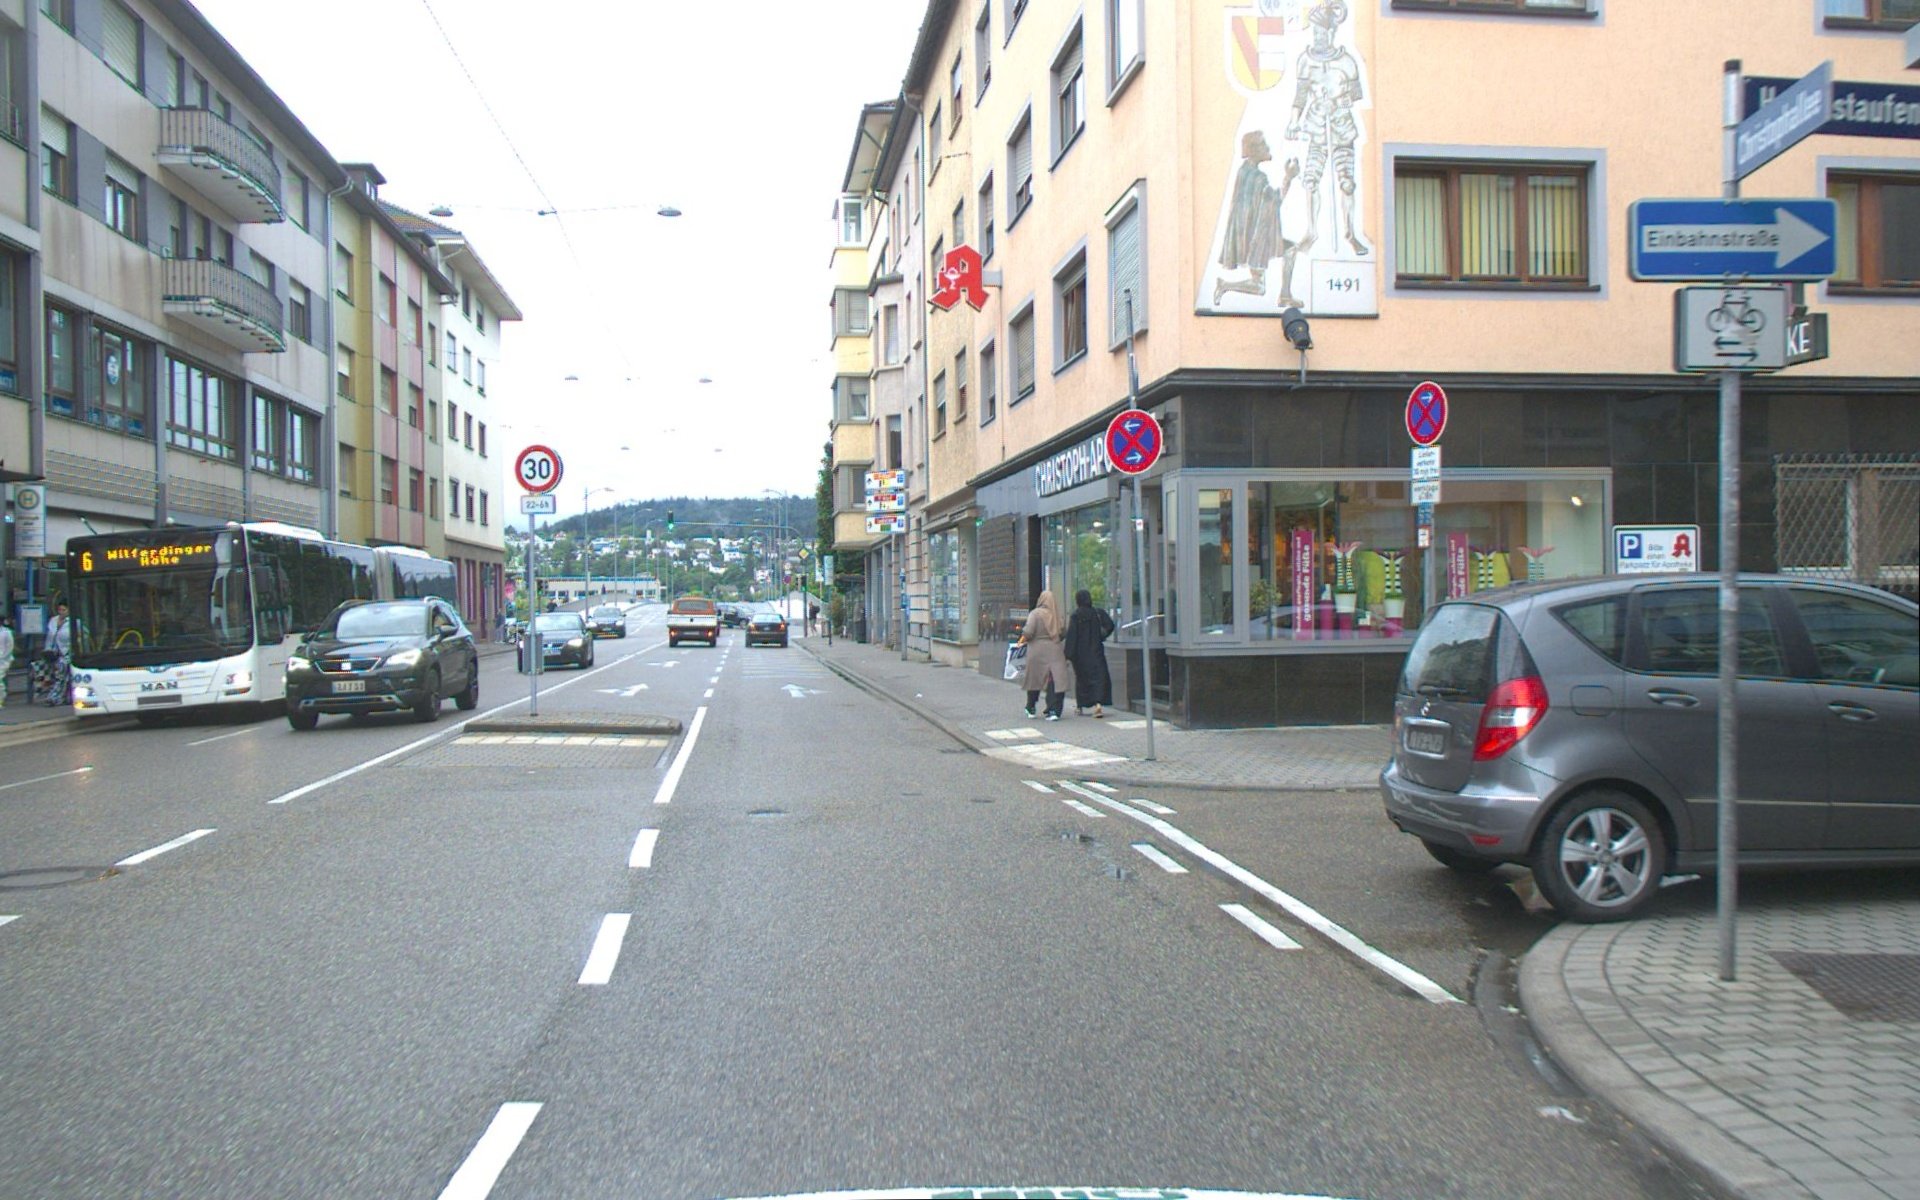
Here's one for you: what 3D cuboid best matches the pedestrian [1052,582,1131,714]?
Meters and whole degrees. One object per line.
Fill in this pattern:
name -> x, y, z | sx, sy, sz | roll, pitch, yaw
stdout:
pedestrian -> 1.623, 0.586, 20.525 | 0.754, 1.587, 0.874 | -1, 0, -9

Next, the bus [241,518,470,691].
bus -> -12.907, 0.110, 36.209 | 2.674, 3.244, 9.276 | -1, 0, -8

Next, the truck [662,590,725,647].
truck -> -10.851, 0.755, 67.744 | 2.355, 2.167, 5.305 | -1, 0, -8

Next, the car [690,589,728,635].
car -> -13.773, 0.653, 90.859 | 1.956, 2.392, 5.000 | -1, 0, -8

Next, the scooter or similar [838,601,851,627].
scooter or similar -> -5.416, 0.656, 77.684 | 0.501, 1.193, 1.546 | -1, 0, -7

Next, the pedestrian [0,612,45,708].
pedestrian -> -14.362, 0.896, 24.895 | 0.753, 1.420, 0.786 | -1, 0, -5

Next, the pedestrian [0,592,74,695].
pedestrian -> -14.930, 0.689, 26.592 | 0.927, 1.617, 0.833 | -1, 0, -6

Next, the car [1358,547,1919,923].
car -> 4.177, 0.568, 8.395 | 3.751, 1.601, 1.934 | -2, 0, -5

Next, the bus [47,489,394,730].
bus -> -11.676, 0.144, 27.188 | 2.707, 3.244, 8.896 | -1, 0, -8

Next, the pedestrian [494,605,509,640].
pedestrian -> -21.149, 1.048, 76.342 | 0.564, 1.580, 0.738 | -1, 0, -11

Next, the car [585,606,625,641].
car -> -19.486, 1.282, 90.955 | 1.895, 1.788, 4.563 | -1, 0, -9

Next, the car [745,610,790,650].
car -> -7.887, 1.200, 67.498 | 1.721, 1.505, 3.993 | -1, 0, -7

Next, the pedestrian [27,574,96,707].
pedestrian -> -14.199, 0.627, 26.155 | 0.665, 2.049, 0.776 | -1, 0, -5

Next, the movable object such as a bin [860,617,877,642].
movable object such as a bin -> -3.592, 1.150, 64.962 | 0.589, 0.942, 0.703 | -1, 0, -8

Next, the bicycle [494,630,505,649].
bicycle -> -20.721, 1.766, 74.384 | 0.259, 0.797, 1.419 | -1, 0, -7

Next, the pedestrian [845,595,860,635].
pedestrian -> -4.734, 0.669, 73.114 | 0.607, 1.729, 0.656 | -1, 0, -4

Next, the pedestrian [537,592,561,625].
pedestrian -> -25.648, 0.540, 103.252 | 0.961, 2.049, 1.175 | -2, 0, 12

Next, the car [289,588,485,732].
car -> -7.708, 0.723, 22.642 | 1.711, 1.691, 4.409 | -2, 1, -9

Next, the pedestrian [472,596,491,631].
pedestrian -> -22.053, 0.621, 76.216 | 0.759, 1.605, 0.587 | -1, 0, -8

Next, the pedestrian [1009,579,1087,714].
pedestrian -> 1.069, 0.560, 20.224 | 0.764, 1.587, 0.781 | -1, 0, -9

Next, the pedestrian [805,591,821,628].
pedestrian -> -7.544, 0.501, 84.909 | 0.719, 1.873, 0.629 | -1, 0, -9

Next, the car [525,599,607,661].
car -> -10.108, 0.743, 42.655 | 1.677, 1.476, 4.077 | -1, 0, -9
